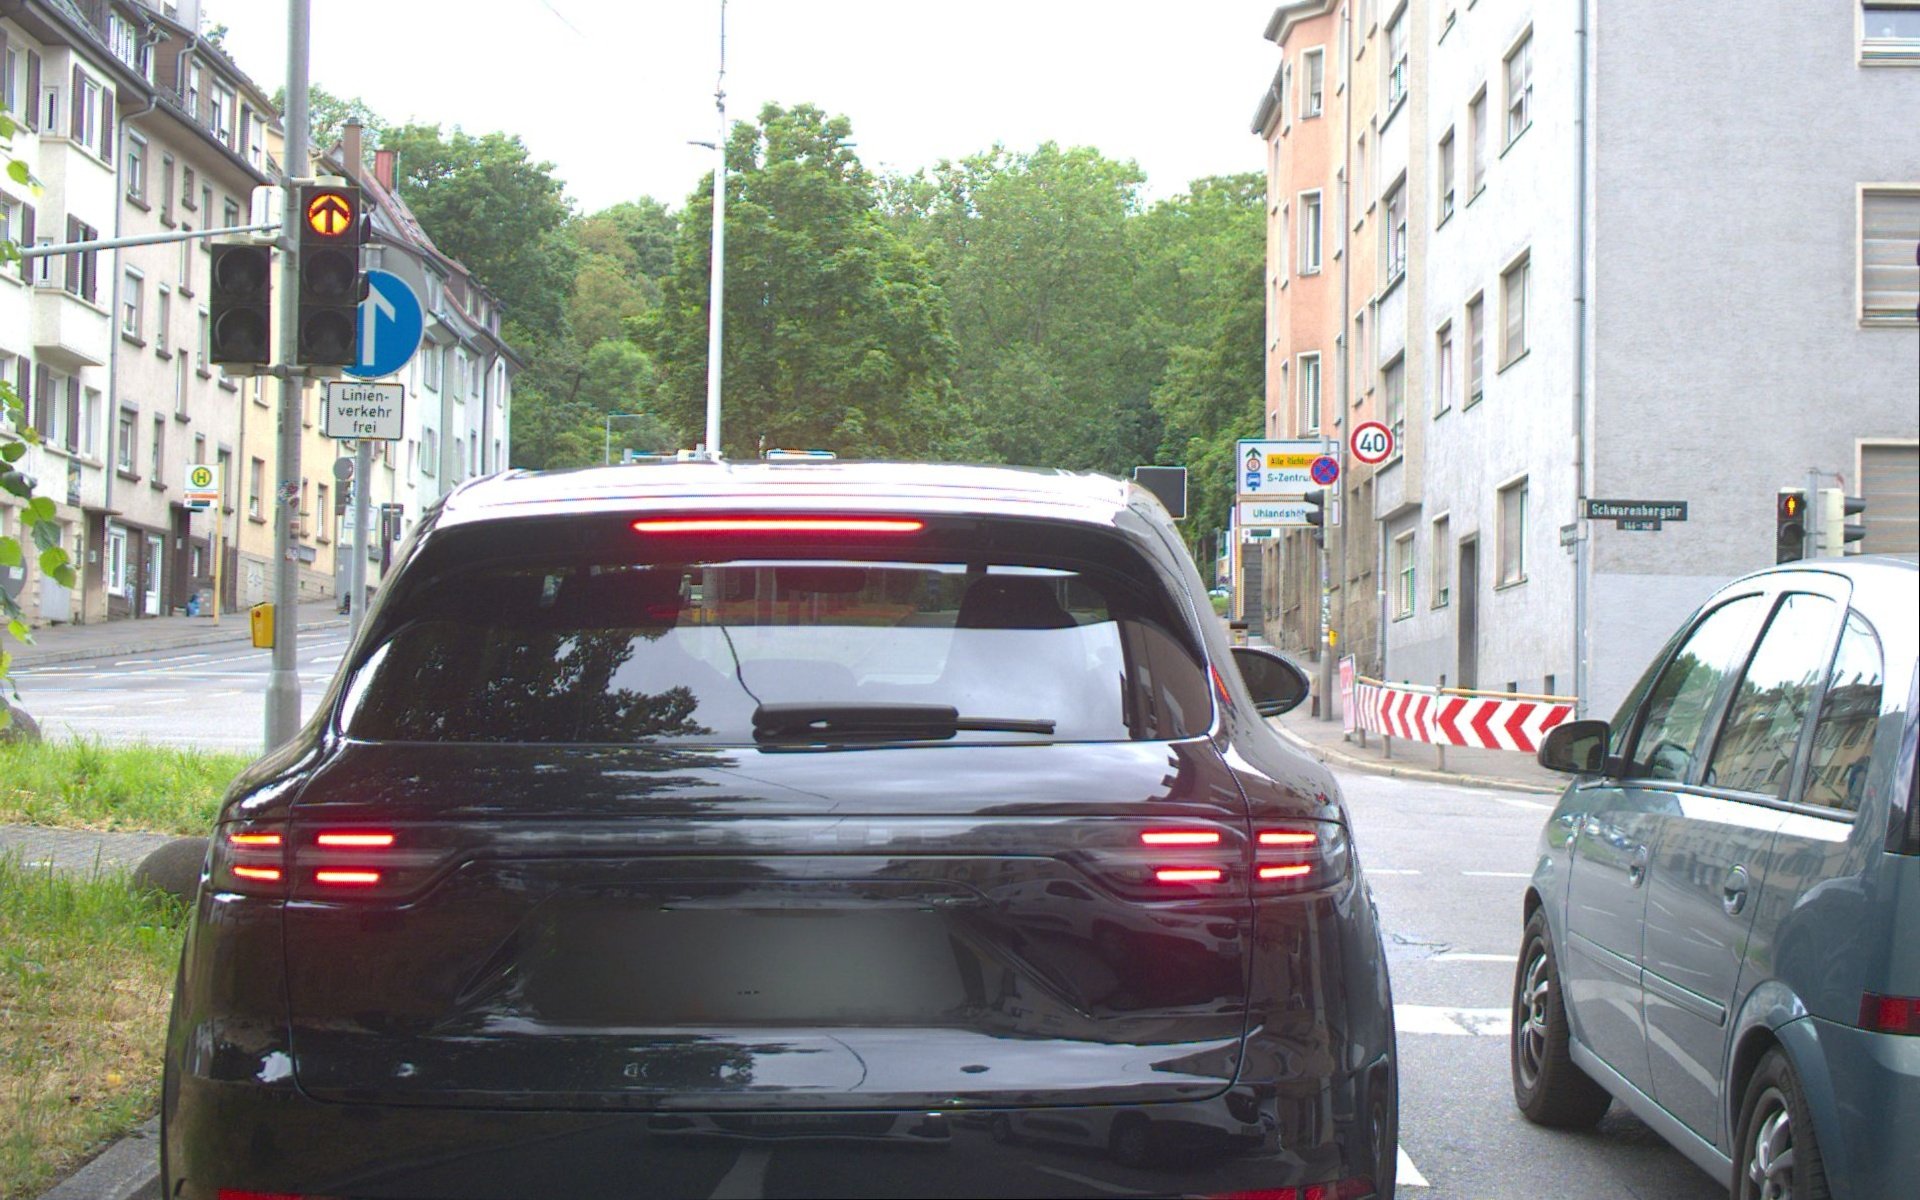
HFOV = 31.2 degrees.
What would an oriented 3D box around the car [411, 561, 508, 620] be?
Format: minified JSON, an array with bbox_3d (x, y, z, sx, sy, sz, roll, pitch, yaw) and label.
[{"bbox_3d":[-12.951,-0.260,89.163,1.844,1.481,3.898,1,1,2],"label":"car"}]

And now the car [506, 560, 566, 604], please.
[{"bbox_3d":[-15.396,-0.664,125.014,1.689,1.533,3.814,1,1,0],"label":"car"}]

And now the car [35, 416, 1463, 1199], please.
[{"bbox_3d":[-0.312,0.563,6.716,1.955,1.669,4.000,0,1,-1],"label":"car"}]

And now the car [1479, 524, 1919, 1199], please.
[{"bbox_3d":[2.352,0.695,7.883,1.628,1.592,3.669,4,1,-1],"label":"car"}]

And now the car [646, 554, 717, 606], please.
[{"bbox_3d":[-9.038,-0.660,111.832,1.974,1.605,4.558,1,1,0],"label":"car"}]

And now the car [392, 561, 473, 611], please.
[{"bbox_3d":[-15.119,-0.408,98.616,1.739,1.382,3.814,1,1,0],"label":"car"}]

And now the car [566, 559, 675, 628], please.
[{"bbox_3d":[-7.056,-0.158,71.843,1.862,1.383,4.094,1,1,0],"label":"car"}]

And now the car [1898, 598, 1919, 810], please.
[{"bbox_3d":[9.014,0.799,24.312,4.236,1.516,1.667,2,0,-5],"label":"car"}]
